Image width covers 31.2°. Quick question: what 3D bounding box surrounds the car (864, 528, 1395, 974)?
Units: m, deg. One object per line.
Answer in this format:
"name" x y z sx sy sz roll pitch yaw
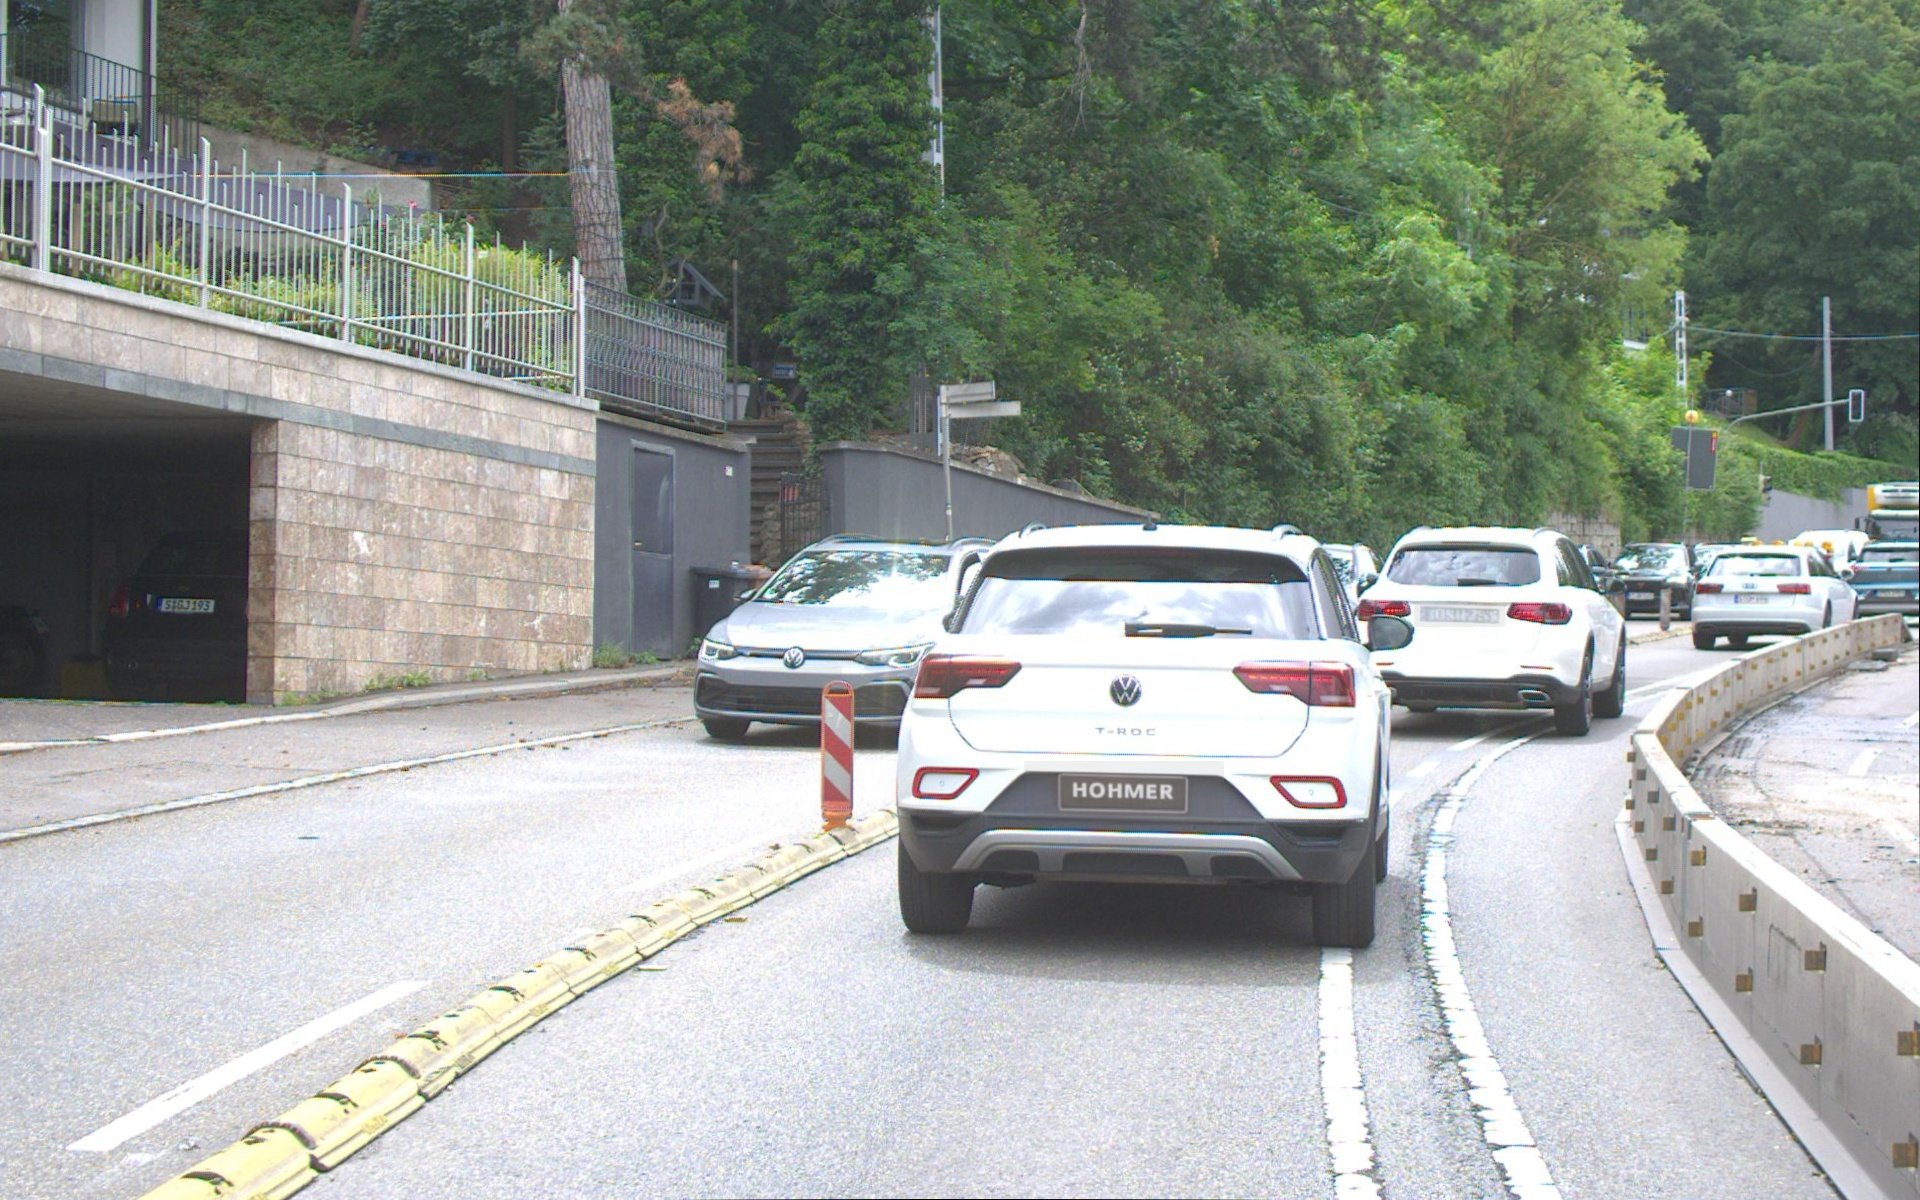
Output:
"car" 0.830 0.477 13.941 1.810 1.526 3.999 0 1 8

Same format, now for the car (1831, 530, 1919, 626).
"car" 16.774 -0.424 61.684 1.811 1.657 3.996 0 1 20

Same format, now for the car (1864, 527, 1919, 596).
"car" 23.305 -0.959 84.355 1.811 1.657 3.996 0 1 20

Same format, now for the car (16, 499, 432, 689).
"car" -6.100 -0.010 28.917 1.783 1.448 3.699 2 -1 18

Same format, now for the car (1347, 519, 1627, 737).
"car" 4.409 0.170 28.309 1.811 1.657 3.997 0 1 16

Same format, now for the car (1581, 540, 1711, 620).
"car" 13.405 -0.402 67.050 1.769 1.447 4.304 3 2 20

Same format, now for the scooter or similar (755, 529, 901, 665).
"scooter or similar" -1.247 -0.033 32.394 1.308 1.251 0.467 1 1 -7

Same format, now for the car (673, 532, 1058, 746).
"car" -0.596 0.228 25.560 1.768 1.430 4.306 1 1 14

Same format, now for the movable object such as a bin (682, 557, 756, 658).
"movable object such as a bin" -2.331 0.069 33.299 0.549 0.973 0.509 0 0 20

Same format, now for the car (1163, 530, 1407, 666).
"car" 3.838 -0.055 39.922 1.769 1.430 4.304 3 2 20

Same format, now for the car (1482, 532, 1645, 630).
"car" 9.746 -0.318 55.302 1.769 1.447 4.304 3 2 20

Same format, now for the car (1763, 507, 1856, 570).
"car" 20.806 -1.496 84.130 1.769 1.447 4.305 3 2 19

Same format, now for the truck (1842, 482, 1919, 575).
"truck" 32.802 -2.463 120.086 2.907 3.144 7.576 0 1 22

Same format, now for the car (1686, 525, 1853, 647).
"car" 11.551 -0.233 48.906 1.811 1.657 3.996 0 1 21

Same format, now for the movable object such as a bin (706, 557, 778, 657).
"movable object such as a bin" -2.141 0.064 33.828 0.549 0.973 0.509 0 0 20
